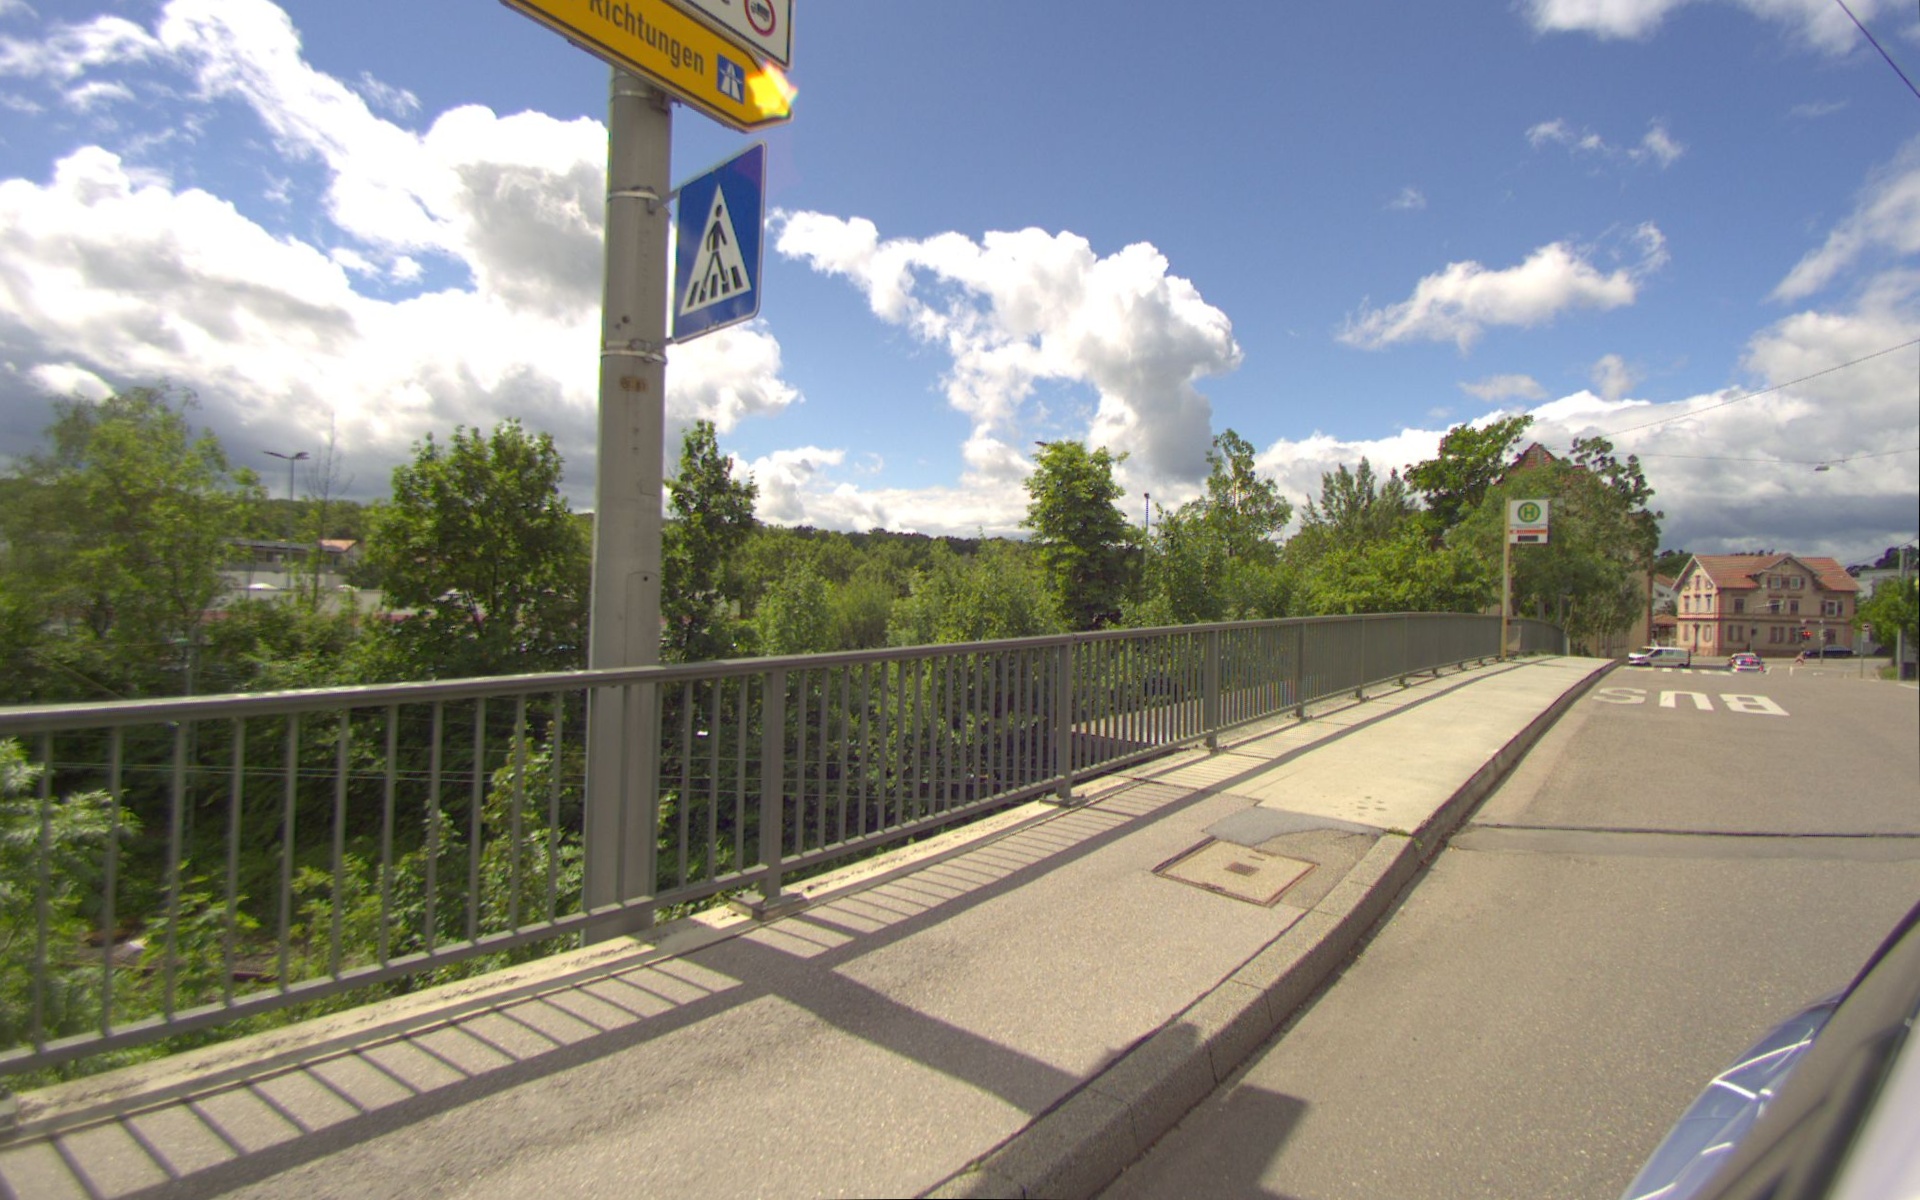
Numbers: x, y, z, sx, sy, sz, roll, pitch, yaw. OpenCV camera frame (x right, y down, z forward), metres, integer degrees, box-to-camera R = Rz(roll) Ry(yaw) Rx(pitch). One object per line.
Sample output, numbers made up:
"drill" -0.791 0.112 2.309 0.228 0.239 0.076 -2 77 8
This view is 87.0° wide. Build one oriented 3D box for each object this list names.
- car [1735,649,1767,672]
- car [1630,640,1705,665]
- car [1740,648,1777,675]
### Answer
"car" 59.898 4.546 76.582 1.717 1.602 4.188 -1 -2 40
"car" 60.273 4.452 86.261 4.894 2.019 1.999 -1 -2 0
"car" 52.526 3.998 66.648 1.714 1.602 3.947 -1 -2 36
